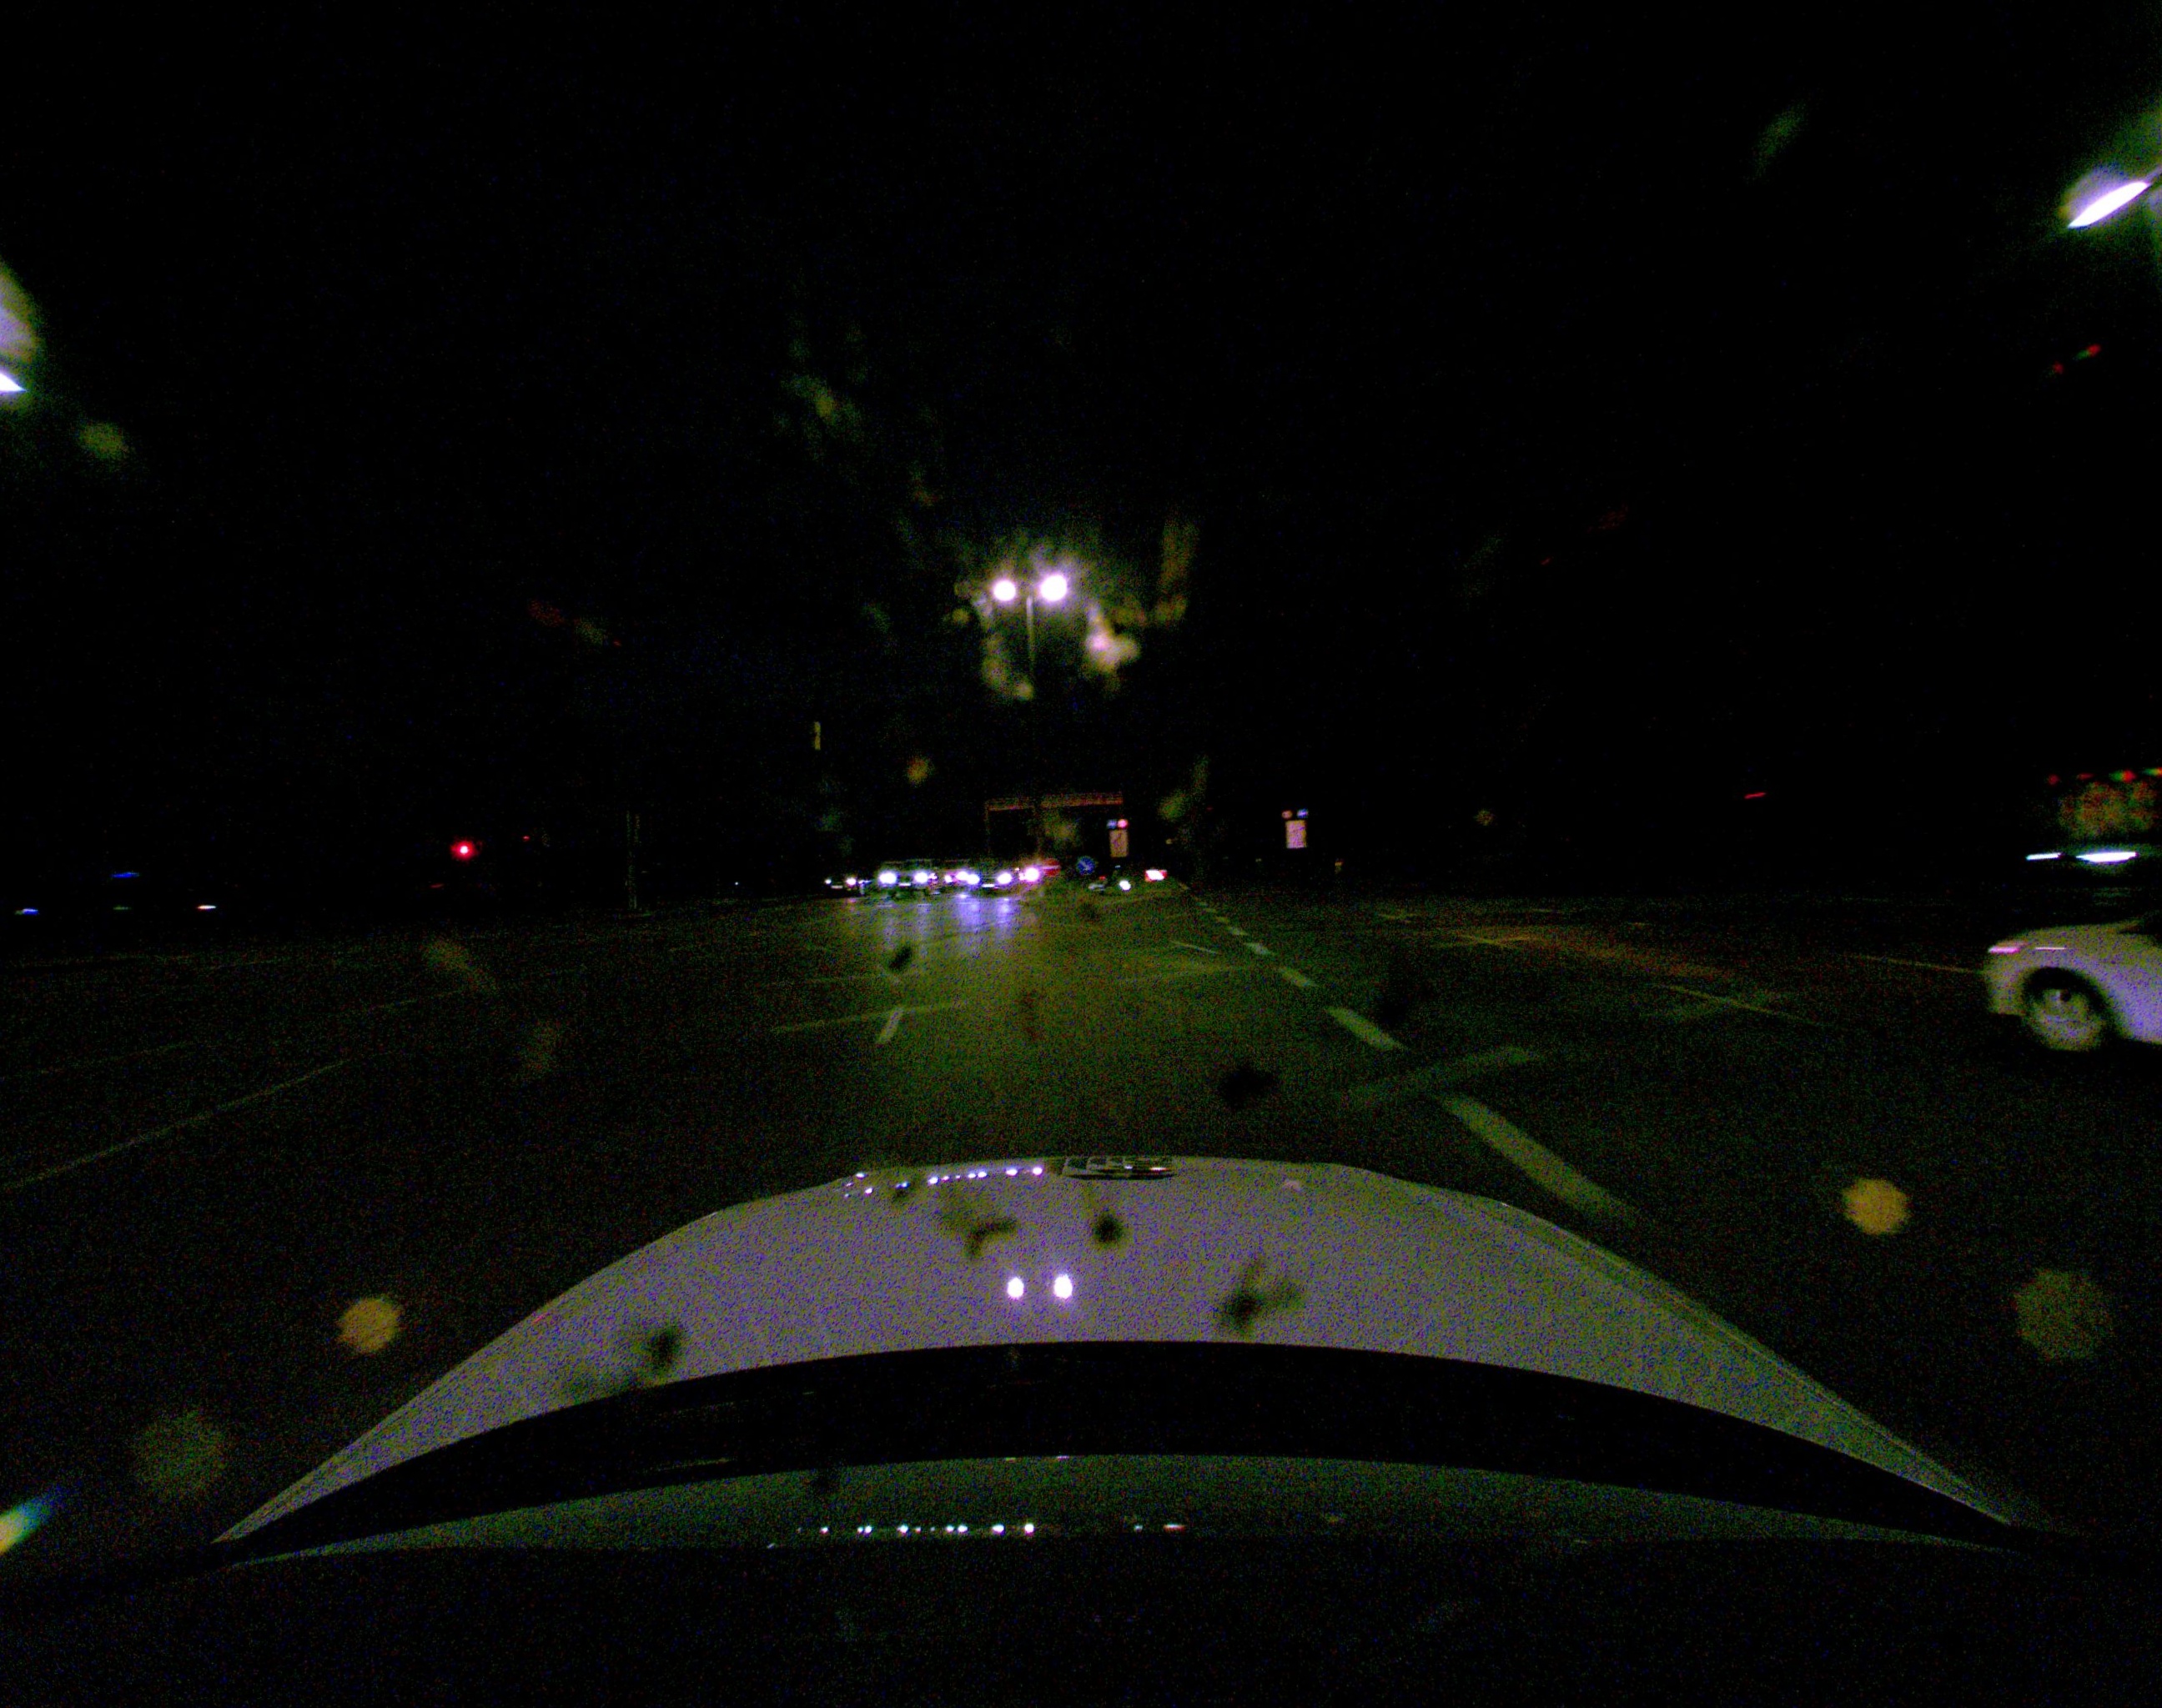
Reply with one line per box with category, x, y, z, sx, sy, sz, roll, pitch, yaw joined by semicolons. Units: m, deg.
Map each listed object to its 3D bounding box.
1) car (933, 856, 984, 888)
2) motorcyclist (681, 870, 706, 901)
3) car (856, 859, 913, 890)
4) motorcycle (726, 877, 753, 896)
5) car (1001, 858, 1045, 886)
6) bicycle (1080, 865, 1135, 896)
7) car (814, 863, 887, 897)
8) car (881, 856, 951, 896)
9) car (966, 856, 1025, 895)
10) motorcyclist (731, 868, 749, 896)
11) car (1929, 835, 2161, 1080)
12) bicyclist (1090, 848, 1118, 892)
car;-6.674;0.961;44.847;1.737;1.626;4.370;-1;0;6
motorcyclist;-23.968;1.952;50.415;0.907;1.809;0.874;-7;-4;14
car;-10.786;1.119;45.009;1.823;1.524;4.005;-2;0;5
motorcycle;-22.847;2.177;54.570;0.843;1.181;1.823;-6;-3;4
car;-3.203;0.962;45.442;1.764;1.481;3.916;-1;0;6
bicycle;1.007;0.997;31.152;2.055;1.101;0.695;-2;-1;-2
car;-10.924;1.192;38.921;1.771;1.445;4.299;-1;0;7
car;-7.557;0.978;37.674;1.899;1.682;4.427;-1;0;6
car;-3.888;0.929;37.873;1.843;1.633;4.592;-2;0;5
motorcyclist;-22.849;1.871;54.606;0.679;1.759;0.791;-6;-3;3
car;7.233;0.577;4.139;1.613;1.443;4.121;-3;-2;3
bicyclist;0.884;0.616;31.168;0.994;1.651;0.603;-2;-1;-1
